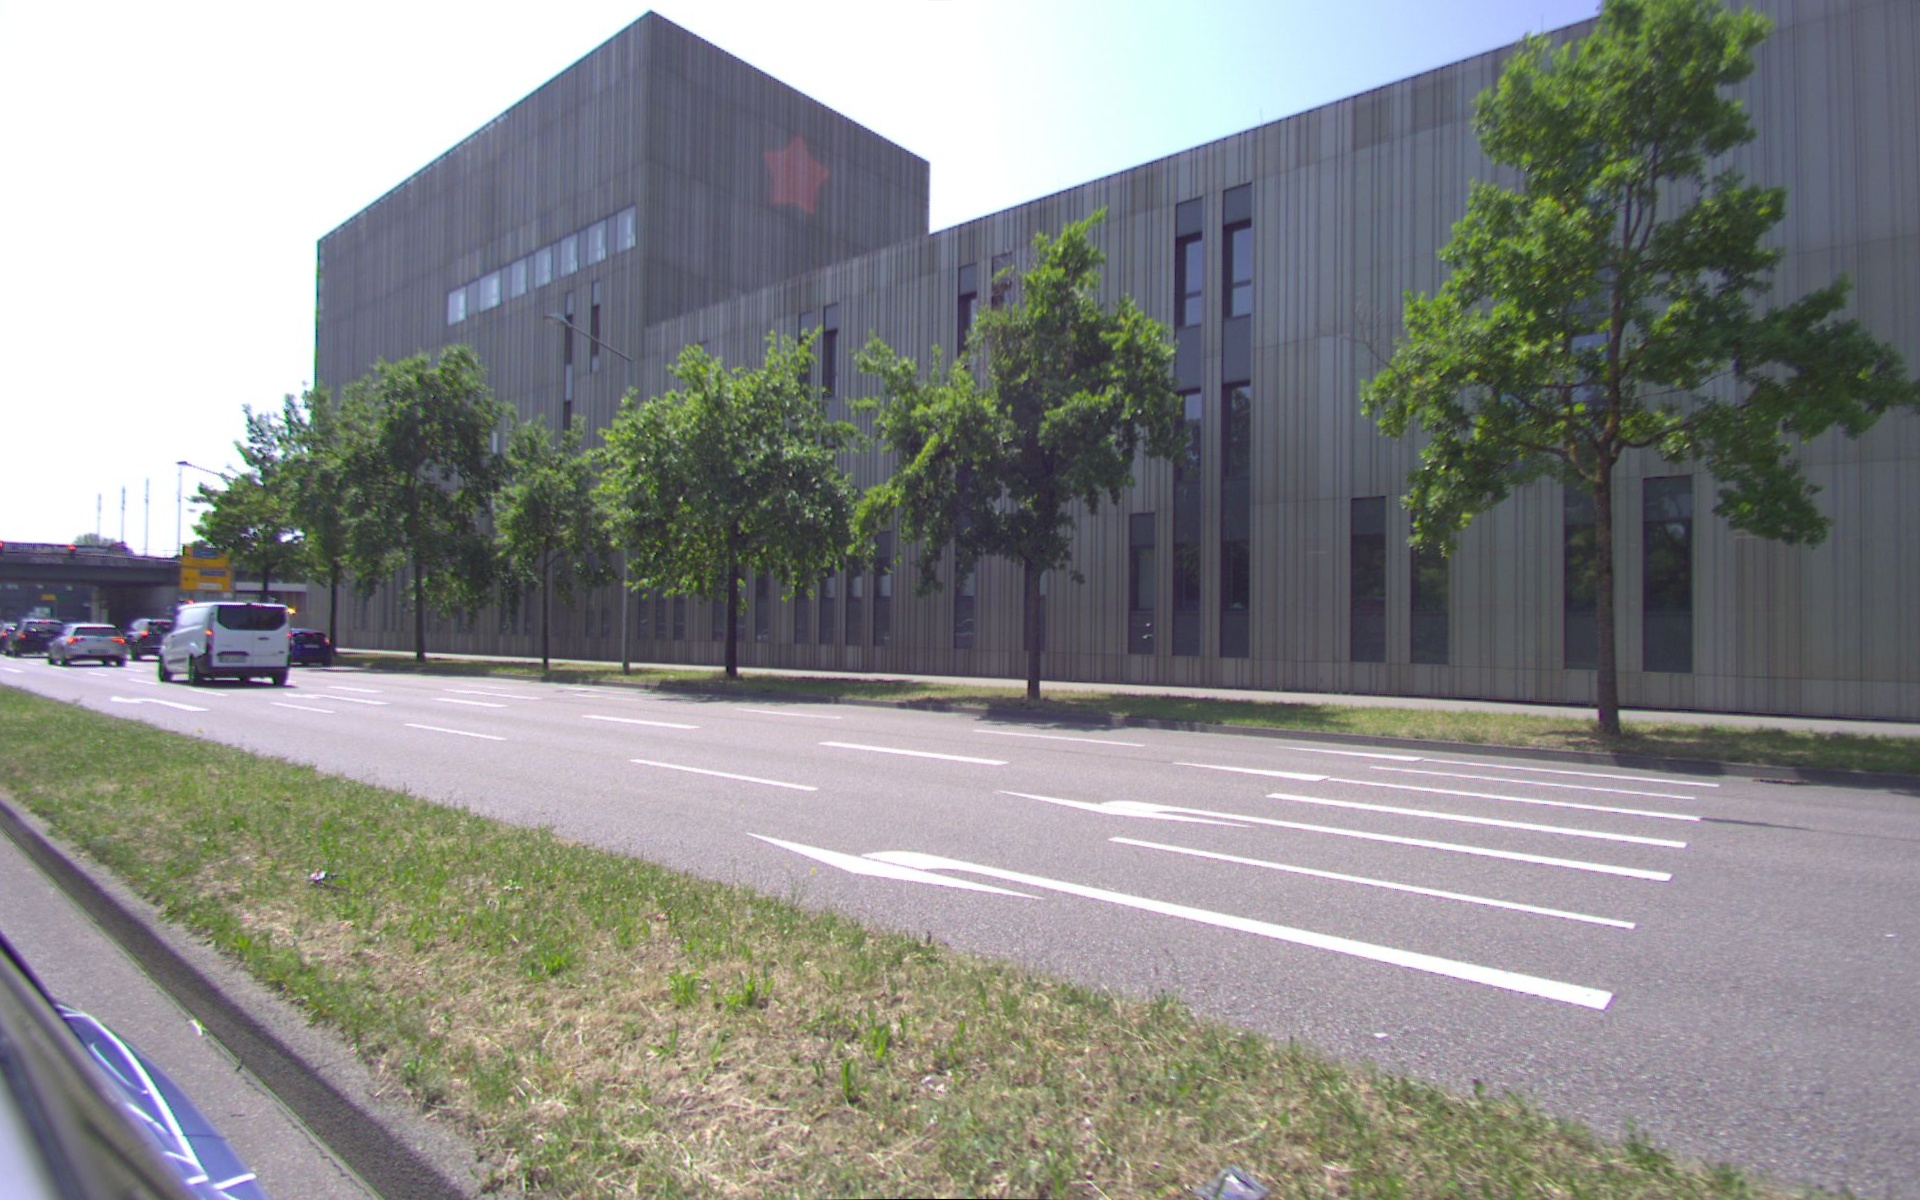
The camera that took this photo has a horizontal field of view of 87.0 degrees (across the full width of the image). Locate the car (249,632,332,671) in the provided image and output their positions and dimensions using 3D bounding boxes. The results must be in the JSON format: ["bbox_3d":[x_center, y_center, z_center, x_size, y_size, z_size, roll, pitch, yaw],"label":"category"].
[{"bbox_3d":[-26.232,1.987,39.601,4.014,1.467,1.604,-1,-3,40],"label":"car"}]

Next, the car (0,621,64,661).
[{"bbox_3d":[-40.797,1.794,44.374,4.572,1.676,1.783,-1,-3,43],"label":"car"}]

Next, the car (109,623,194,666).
[{"bbox_3d":[-34.539,1.877,43.205,4.640,1.760,1.792,-1,-3,39],"label":"car"}]

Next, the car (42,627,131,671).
[{"bbox_3d":[-31.103,1.717,35.999,4.142,1.471,1.747,-1,-3,41],"label":"car"}]

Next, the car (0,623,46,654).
[{"bbox_3d":[-46.012,1.850,49.107,4.245,1.457,1.792,-1,-3,39],"label":"car"}]

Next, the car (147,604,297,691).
[{"bbox_3d":[-18.659,1.172,25.502,4.894,2.008,1.890,-1,-3,40],"label":"car"}]
